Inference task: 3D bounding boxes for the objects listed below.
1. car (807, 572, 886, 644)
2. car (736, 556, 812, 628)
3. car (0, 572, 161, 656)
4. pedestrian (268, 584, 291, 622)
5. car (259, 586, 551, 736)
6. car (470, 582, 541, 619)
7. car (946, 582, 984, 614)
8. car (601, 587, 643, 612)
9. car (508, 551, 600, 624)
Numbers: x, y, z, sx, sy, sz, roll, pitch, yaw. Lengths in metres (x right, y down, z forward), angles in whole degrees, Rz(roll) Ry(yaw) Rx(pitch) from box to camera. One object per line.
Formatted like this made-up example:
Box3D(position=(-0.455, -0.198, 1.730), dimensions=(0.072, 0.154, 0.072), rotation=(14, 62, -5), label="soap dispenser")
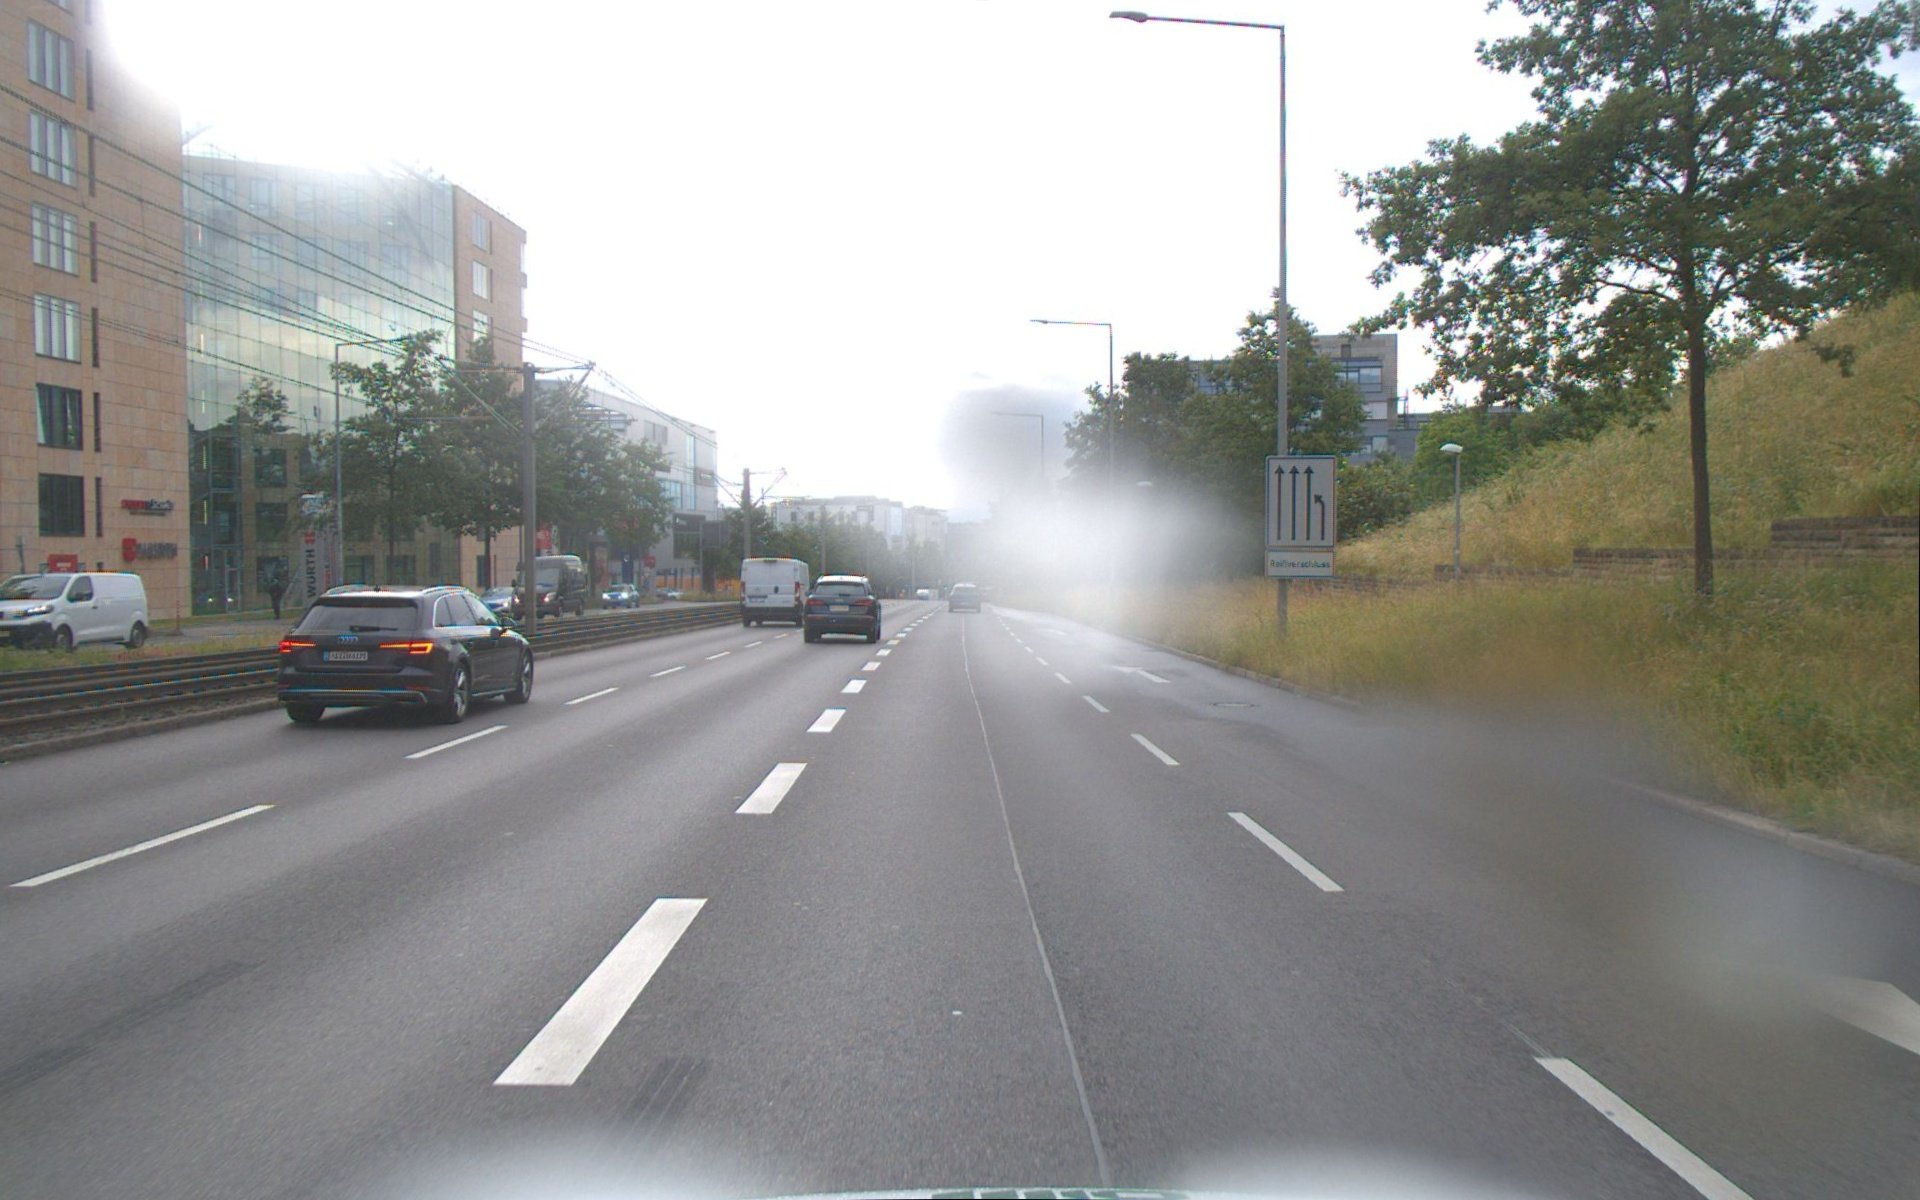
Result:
Box3D(position=(-2.878, 0.240, 42.579), dimensions=(1.884, 1.741, 4.095), rotation=(1, -1, -3), label="car")
Box3D(position=(-6.323, -0.278, 56.627), dimensions=(2.222, 2.324, 4.757), rotation=(1, 0, -3), label="car")
Box3D(position=(-20.659, 0.283, 38.175), dimensions=(1.898, 1.792, 5.062), rotation=(1, 0, 0), label="car")
Box3D(position=(-29.958, 0.138, 72.827), dimensions=(0.629, 1.660, 0.831), rotation=(1, -1, -3), label="pedestrian")
Box3D(position=(-6.063, 0.586, 18.713), dimensions=(1.749, 1.438, 4.805), rotation=(1, 0, -1), label="car")
Box3D(position=(-20.093, 0.016, 73.329), dimensions=(1.723, 1.560, 4.817), rotation=(1, 0, 0), label="car")
Box3D(position=(0.249, -0.091, 88.046), dimensions=(1.753, 1.619, 3.997), rotation=(-1, 0, -3), label="car")
Box3D(position=(-21.669, -0.031, 106.241), dimensions=(1.803, 1.479, 4.024), rotation=(1, -1, 1), label="car")
Box3D(position=(-16.924, -0.506, 69.283), dimensions=(2.334, 2.867, 5.612), rotation=(1, 0, 1), label="car")
